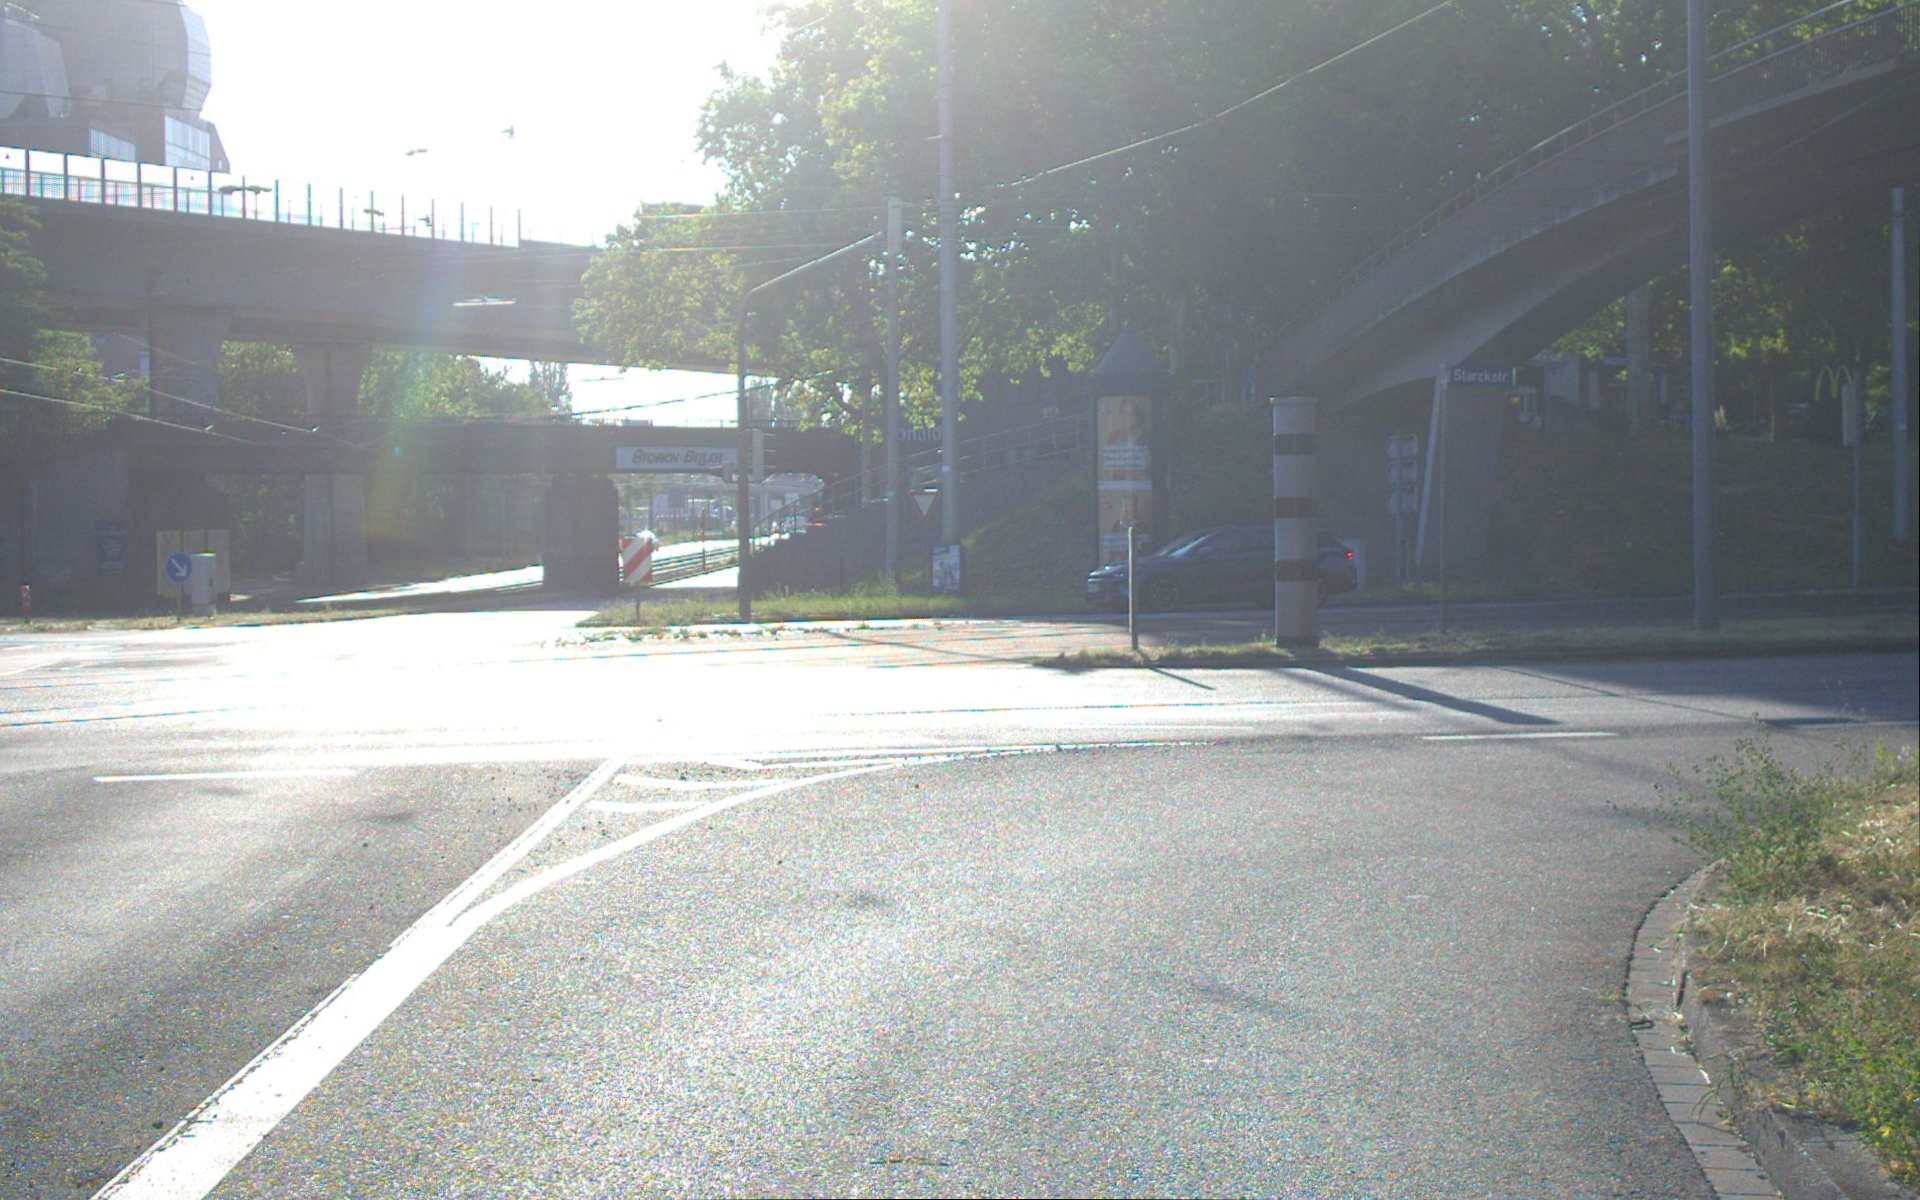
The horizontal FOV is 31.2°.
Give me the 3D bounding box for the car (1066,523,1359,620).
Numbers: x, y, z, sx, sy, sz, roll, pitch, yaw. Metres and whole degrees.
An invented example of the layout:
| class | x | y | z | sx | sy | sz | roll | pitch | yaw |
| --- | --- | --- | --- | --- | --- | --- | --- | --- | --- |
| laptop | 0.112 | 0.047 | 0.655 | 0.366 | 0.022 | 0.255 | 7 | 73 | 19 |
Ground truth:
| class | x | y | z | sx | sy | sz | roll | pitch | yaw |
| --- | --- | --- | --- | --- | --- | --- | --- | --- | --- |
| car | 4.216 | -0.478 | 57.472 | 4.574 | 1.569 | 1.694 | 0 | 1 | -17 |
